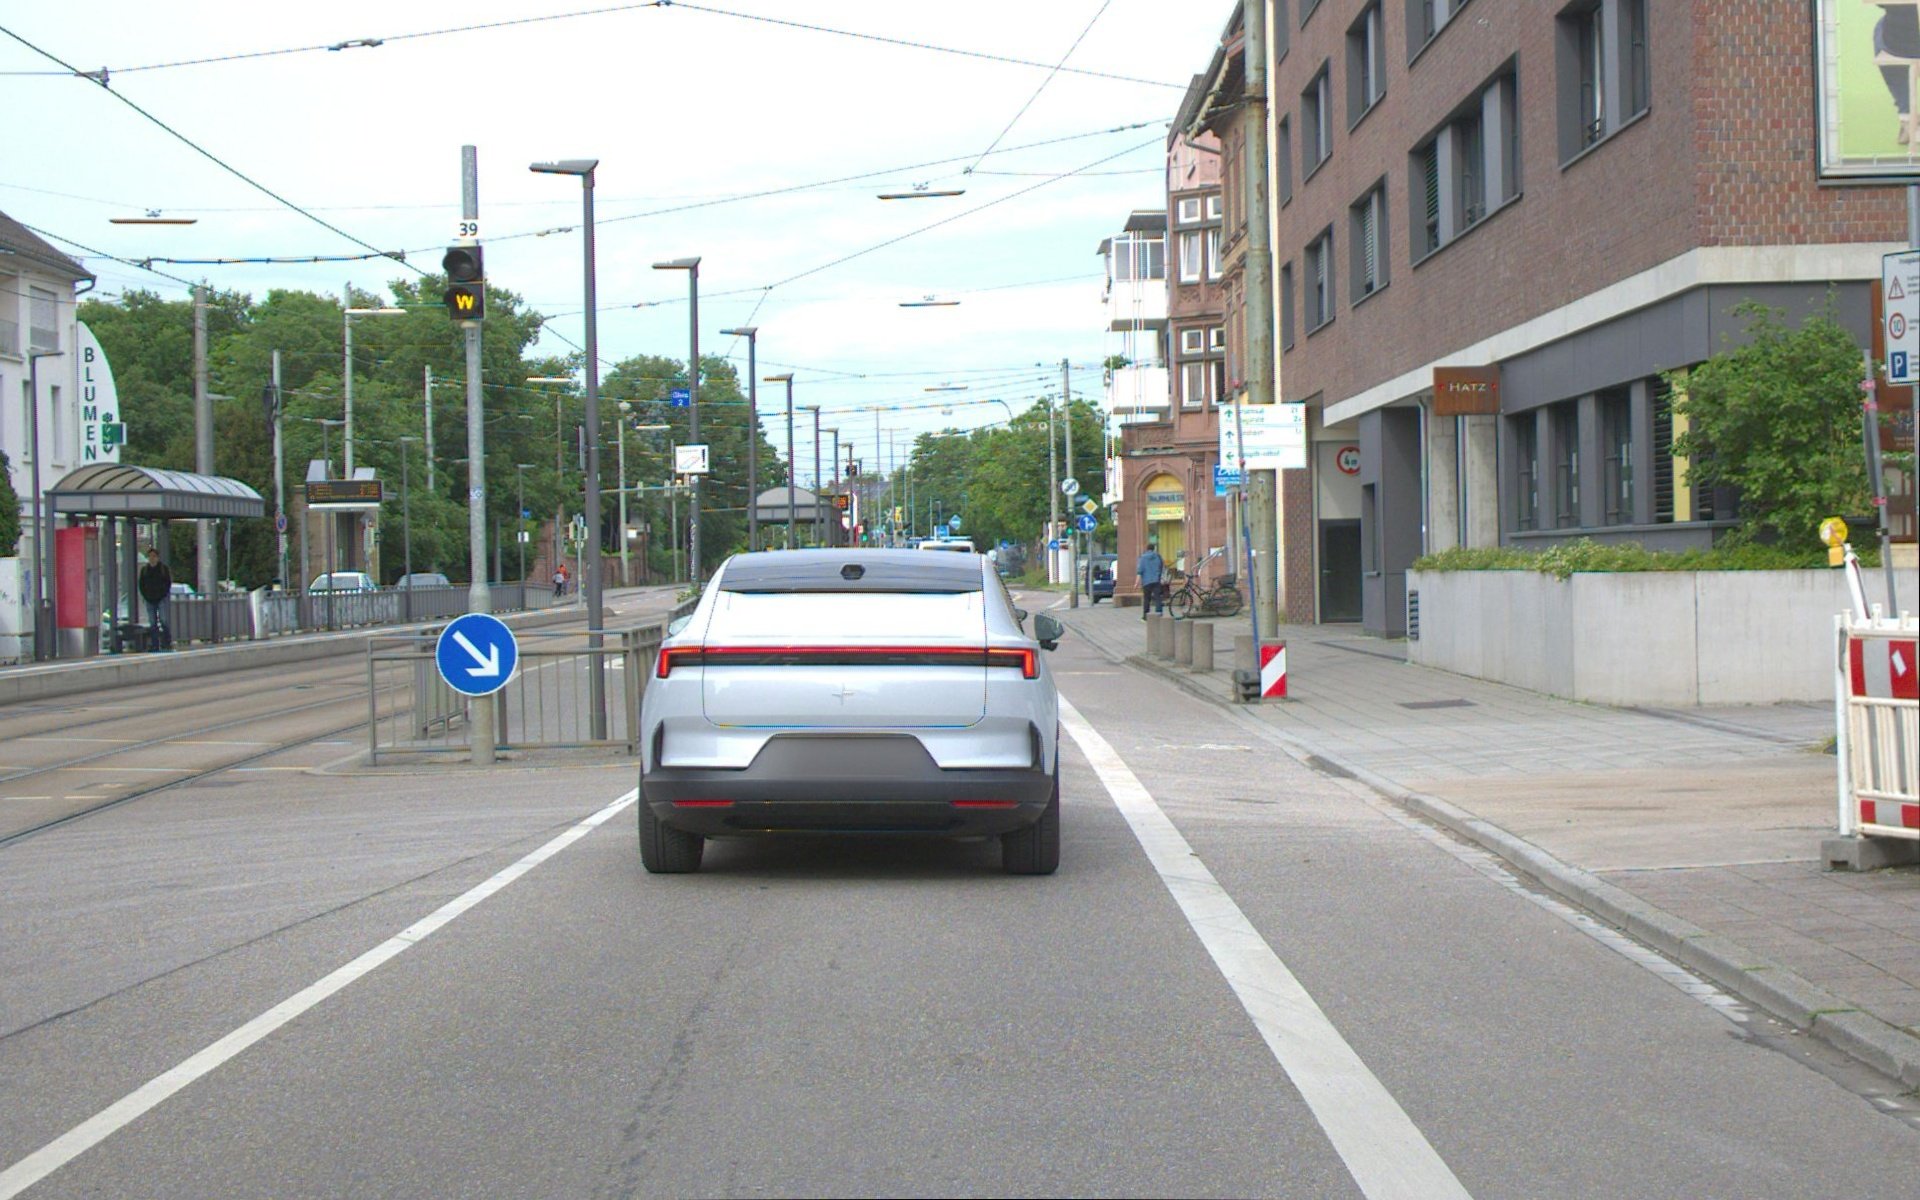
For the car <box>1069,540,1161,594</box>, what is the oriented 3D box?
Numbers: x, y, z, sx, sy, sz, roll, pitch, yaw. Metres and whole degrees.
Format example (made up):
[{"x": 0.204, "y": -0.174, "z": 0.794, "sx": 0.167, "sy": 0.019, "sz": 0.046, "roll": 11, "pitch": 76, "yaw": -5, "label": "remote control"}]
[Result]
[{"x": 5.865, "y": -1.242, "z": 129.842, "sx": 1.996, "sy": 2.007, "sz": 3.994, "roll": 0, "pitch": 0, "yaw": 27, "label": "car"}]

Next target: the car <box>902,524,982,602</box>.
[{"x": -0.603, "y": -1.144, "z": 108.019, "sx": 2.225, "sy": 2.394, "sz": 5.124, "roll": 0, "pitch": 0, "yaw": -3, "label": "car"}]

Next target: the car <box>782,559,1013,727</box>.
[{"x": -0.590, "y": 0.354, "z": 32.149, "sx": 1.993, "sy": 1.415, "sz": 4.000, "roll": -2, "pitch": 1, "yaw": -1, "label": "car"}]

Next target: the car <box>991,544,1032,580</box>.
[{"x": 3.579, "y": -2.631, "z": 240.158, "sx": 2.807, "sy": 2.496, "sz": 5.722, "roll": 0, "pitch": 0, "yaw": 0, "label": "car"}]

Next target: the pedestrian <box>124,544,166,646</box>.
[{"x": -13.283, "y": -0.086, "z": 56.004, "sx": 0.615, "sy": 1.659, "sz": 0.697, "roll": 0, "pitch": 0, "yaw": -17, "label": "pedestrian"}]

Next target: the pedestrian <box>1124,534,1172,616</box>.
[{"x": 4.386, "y": -0.597, "z": 80.156, "sx": 0.961, "sy": 1.843, "sz": 0.975, "roll": -3, "pitch": 1, "yaw": 6, "label": "pedestrian"}]

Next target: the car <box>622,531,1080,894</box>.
[{"x": -0.625, "y": 0.485, "z": 17.022, "sx": 1.999, "sy": 1.575, "sz": 4.001, "roll": 0, "pitch": 0, "yaw": -4, "label": "car"}]

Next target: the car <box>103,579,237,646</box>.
[{"x": -16.413, "y": 0.249, "z": 71.586, "sx": 1.750, "sy": 1.294, "sz": 3.833, "roll": -2, "pitch": 0, "yaw": 2, "label": "car"}]

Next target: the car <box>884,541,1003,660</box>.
[{"x": -0.224, "y": -0.007, "z": 50.767, "sx": 1.681, "sy": 1.682, "sz": 3.824, "roll": 0, "pitch": 0, "yaw": 0, "label": "car"}]

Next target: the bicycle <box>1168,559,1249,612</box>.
[{"x": 5.843, "y": -0.351, "z": 80.839, "sx": 1.777, "sy": 1.126, "sz": 0.642, "roll": -4, "pitch": 1, "yaw": 0, "label": "bicycle"}]
